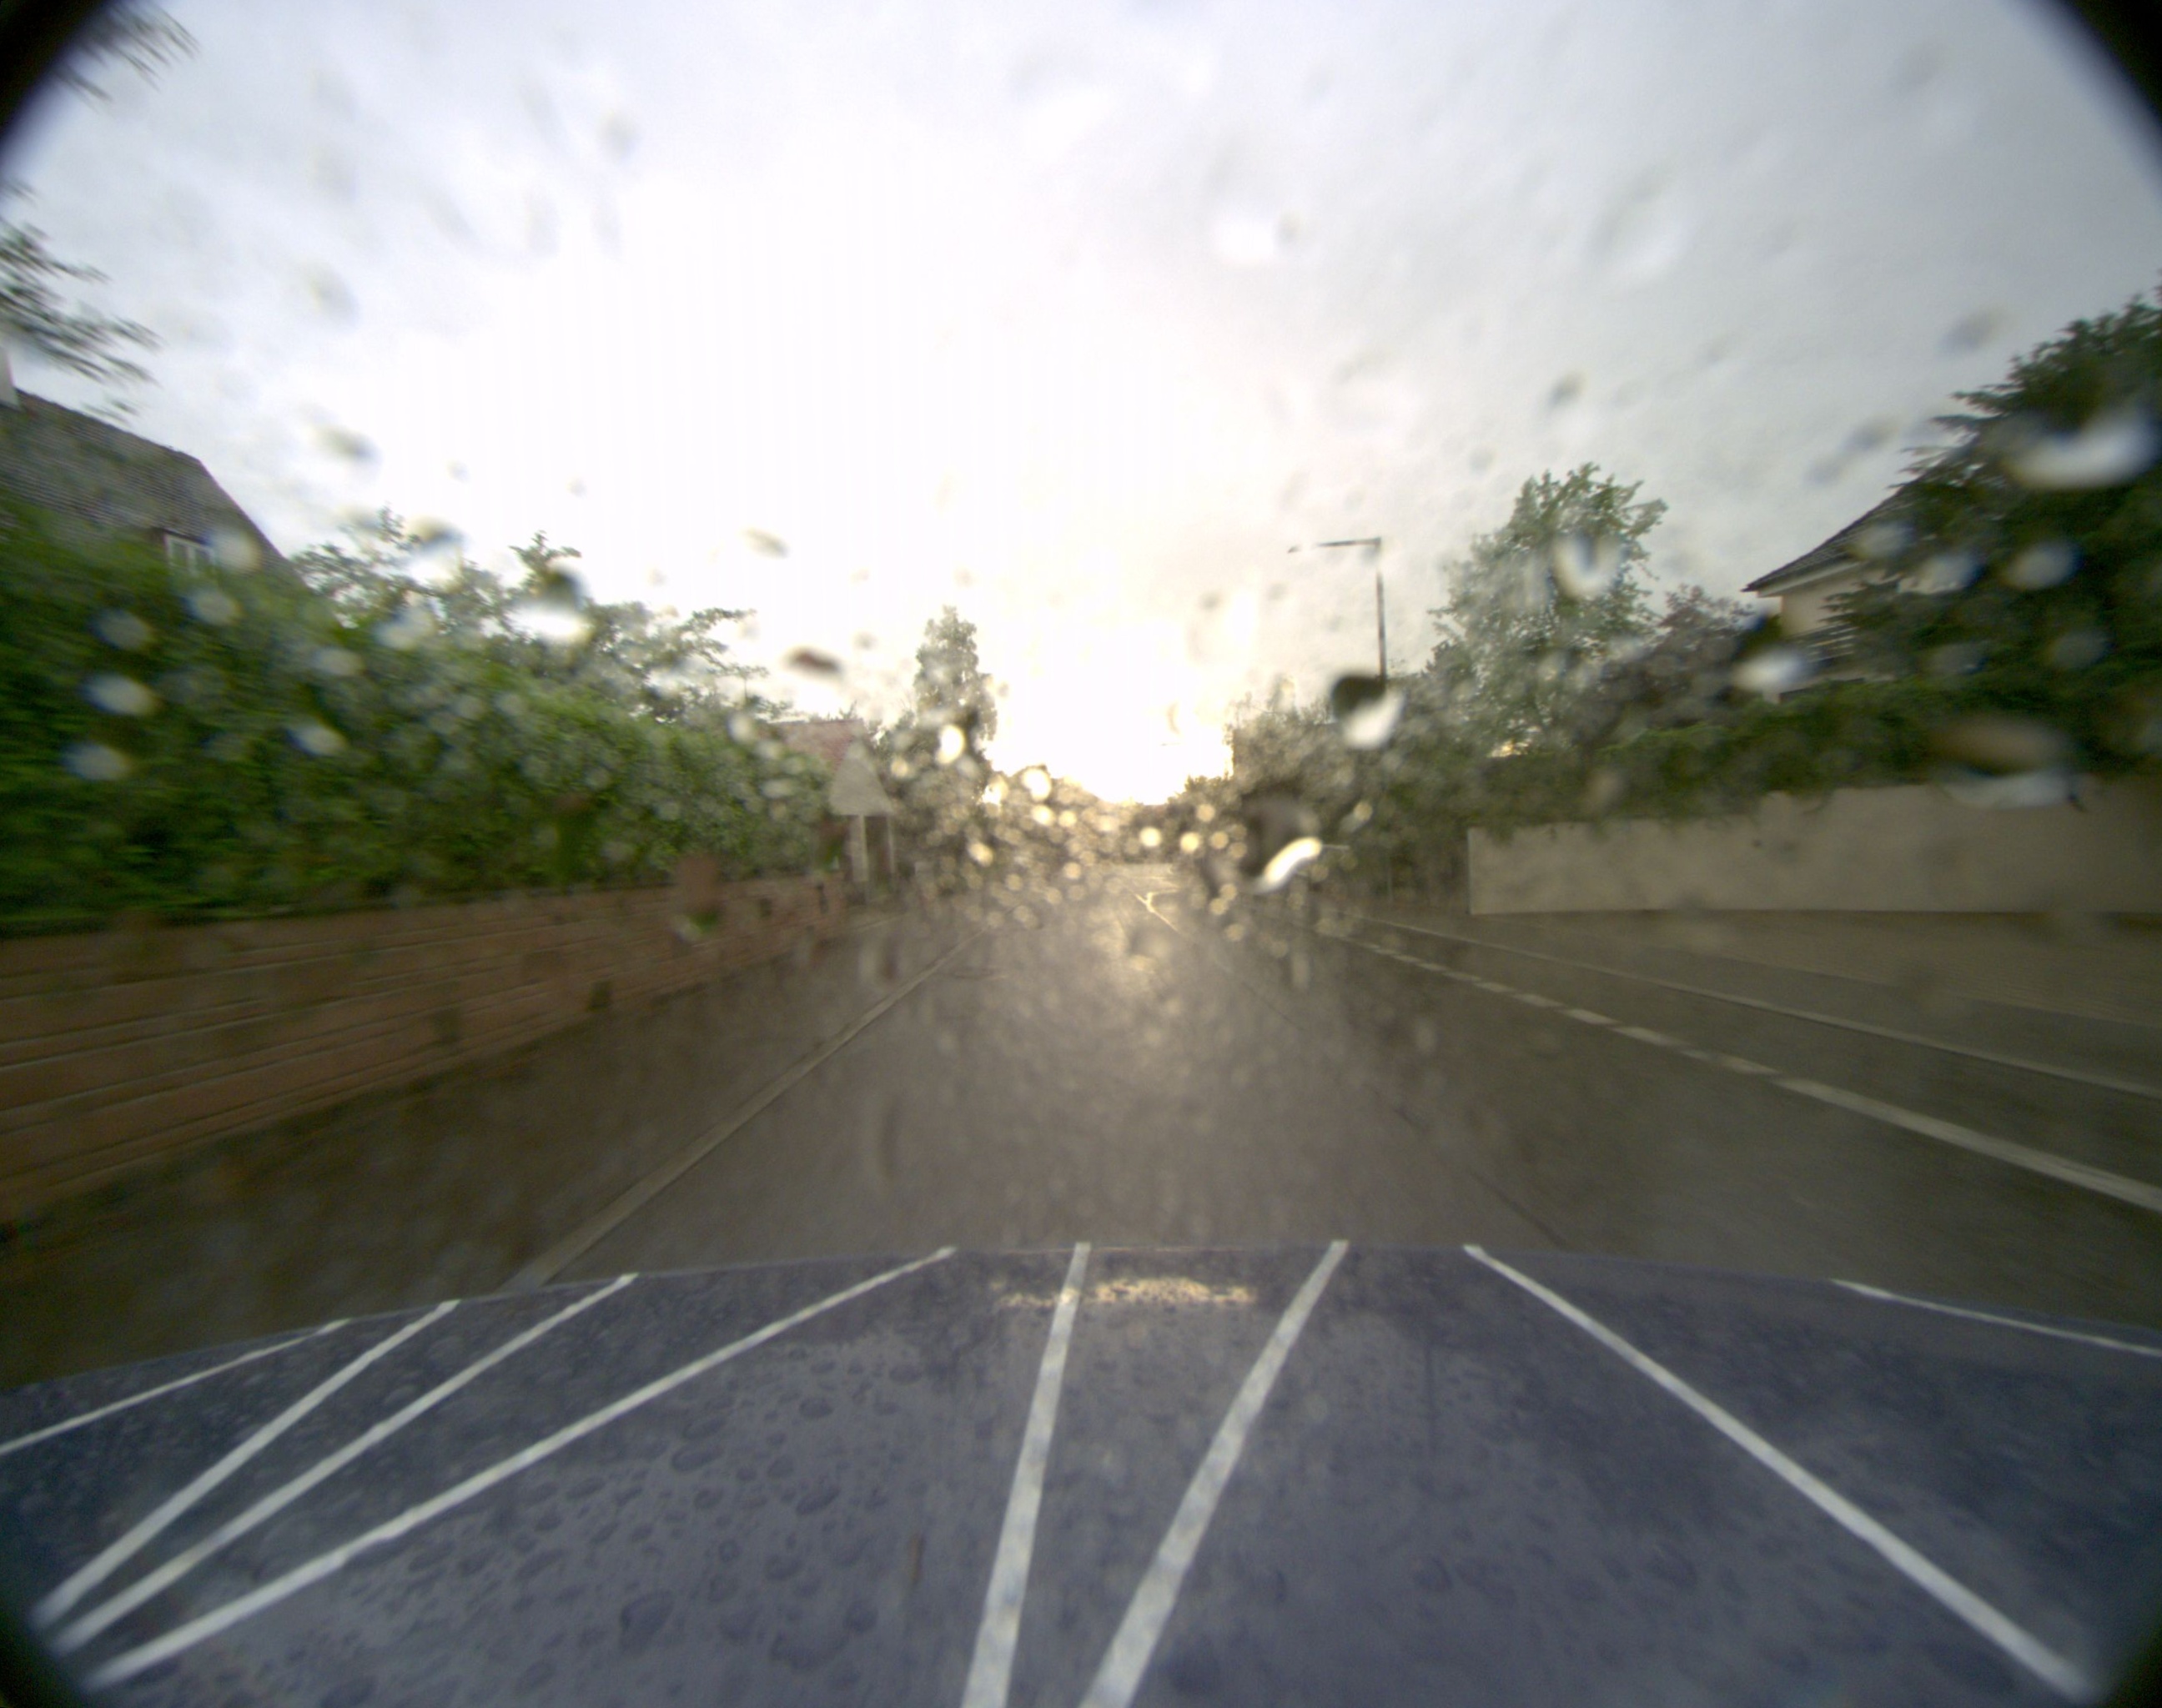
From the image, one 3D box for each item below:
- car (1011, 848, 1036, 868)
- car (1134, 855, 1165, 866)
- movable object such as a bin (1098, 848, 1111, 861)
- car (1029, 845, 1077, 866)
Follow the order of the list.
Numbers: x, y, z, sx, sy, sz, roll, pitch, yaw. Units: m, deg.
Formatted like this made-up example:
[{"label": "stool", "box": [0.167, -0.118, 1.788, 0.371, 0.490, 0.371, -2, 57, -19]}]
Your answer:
[{"label": "car", "box": [-4.424, 0.297, 58.510, 1.535, 1.526, 3.845, 0, 0, 2]}, {"label": "car", "box": [10.616, 1.012, 118.029, 4.533, 1.650, 1.858, -1, -2, 11]}, {"label": "movable object such as a bin", "box": [2.857, 0.057, 91.559, 1.245, 1.488, 0.982, -1, -1, -17]}, {"label": "car", "box": [-2.809, 0.120, 75.984, 4.335, 1.706, 1.731, -5, 0, 29]}]
